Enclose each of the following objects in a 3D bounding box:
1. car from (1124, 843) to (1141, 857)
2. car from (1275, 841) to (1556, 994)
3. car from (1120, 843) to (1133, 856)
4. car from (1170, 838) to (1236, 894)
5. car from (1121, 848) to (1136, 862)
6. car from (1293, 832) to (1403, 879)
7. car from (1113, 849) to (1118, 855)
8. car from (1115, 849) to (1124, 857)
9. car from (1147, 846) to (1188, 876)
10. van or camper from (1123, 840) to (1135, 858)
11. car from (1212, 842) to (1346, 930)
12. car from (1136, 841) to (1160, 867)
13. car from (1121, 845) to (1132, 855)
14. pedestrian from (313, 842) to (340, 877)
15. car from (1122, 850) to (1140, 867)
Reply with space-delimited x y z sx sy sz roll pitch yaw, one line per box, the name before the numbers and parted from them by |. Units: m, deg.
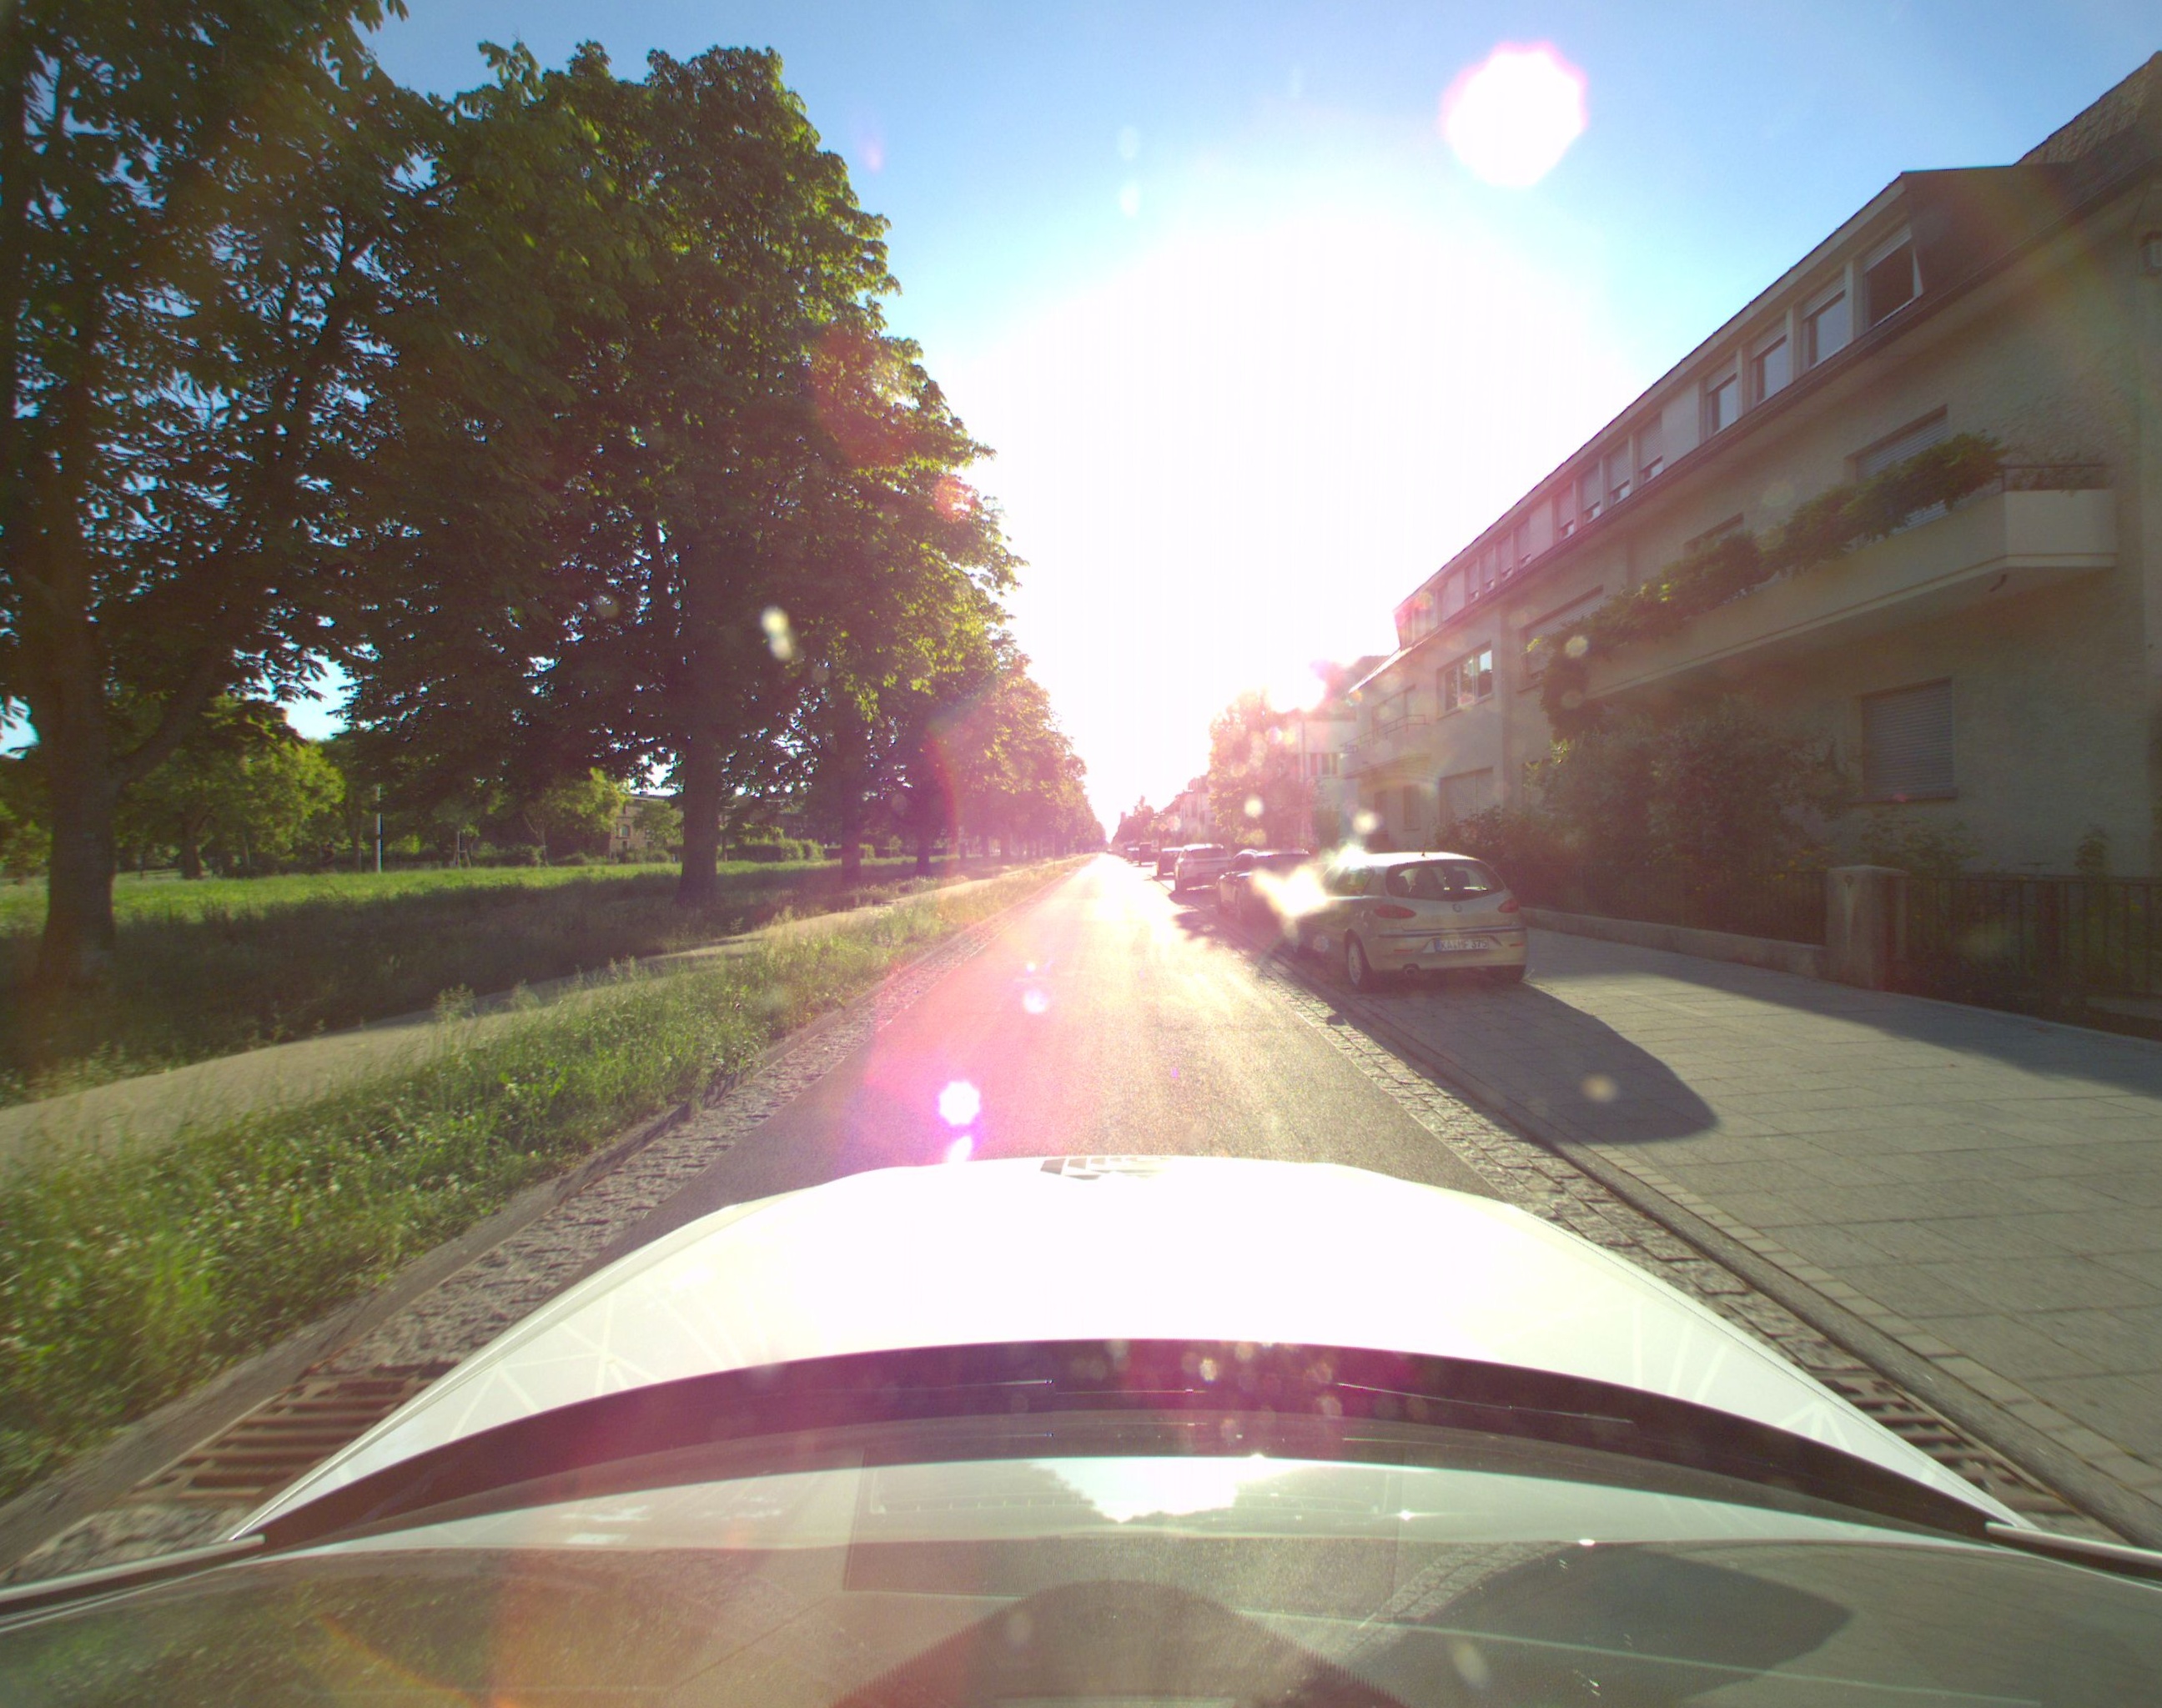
car | 6.475 -0.489 102.367 1.713 1.574 4.208 -3 0 -1
car | 3.701 0.599 9.861 1.787 1.380 4.080 -3 0 2
car | 9.248 -0.994 165.642 2.119 2.532 5.188 -2 0 0
car | 4.185 0.357 28.558 1.897 1.708 4.581 -3 1 5
car | 6.289 0.120 107.746 1.825 1.685 4.418 1 1 2
car | 11.020 0.033 33.783 3.975 1.844 1.813 1 1 -4
car | 10.720 -0.625 253.389 1.643 1.530 3.854 3 0 3
car | 7.559 -0.144 159.617 1.643 1.530 3.854 -2 0 3
car | 4.589 0.346 43.715 1.787 1.482 4.125 -3 0 2
van or camper | 7.988 -0.783 135.529 1.936 2.777 5.943 0 -1 2
car | 3.895 0.559 16.712 1.787 1.494 4.196 -3 0 2
car | 6.023 -0.017 73.483 1.898 2.131 4.818 -3 0 3
car | 7.124 -0.666 128.747 1.657 1.593 4.088 0 0 2
pedestrian | -37.391 0.263 40.371 0.779 1.724 0.710 1 -1 -26
car | 5.518 0.460 90.035 1.787 1.771 4.474 -3 0 2
